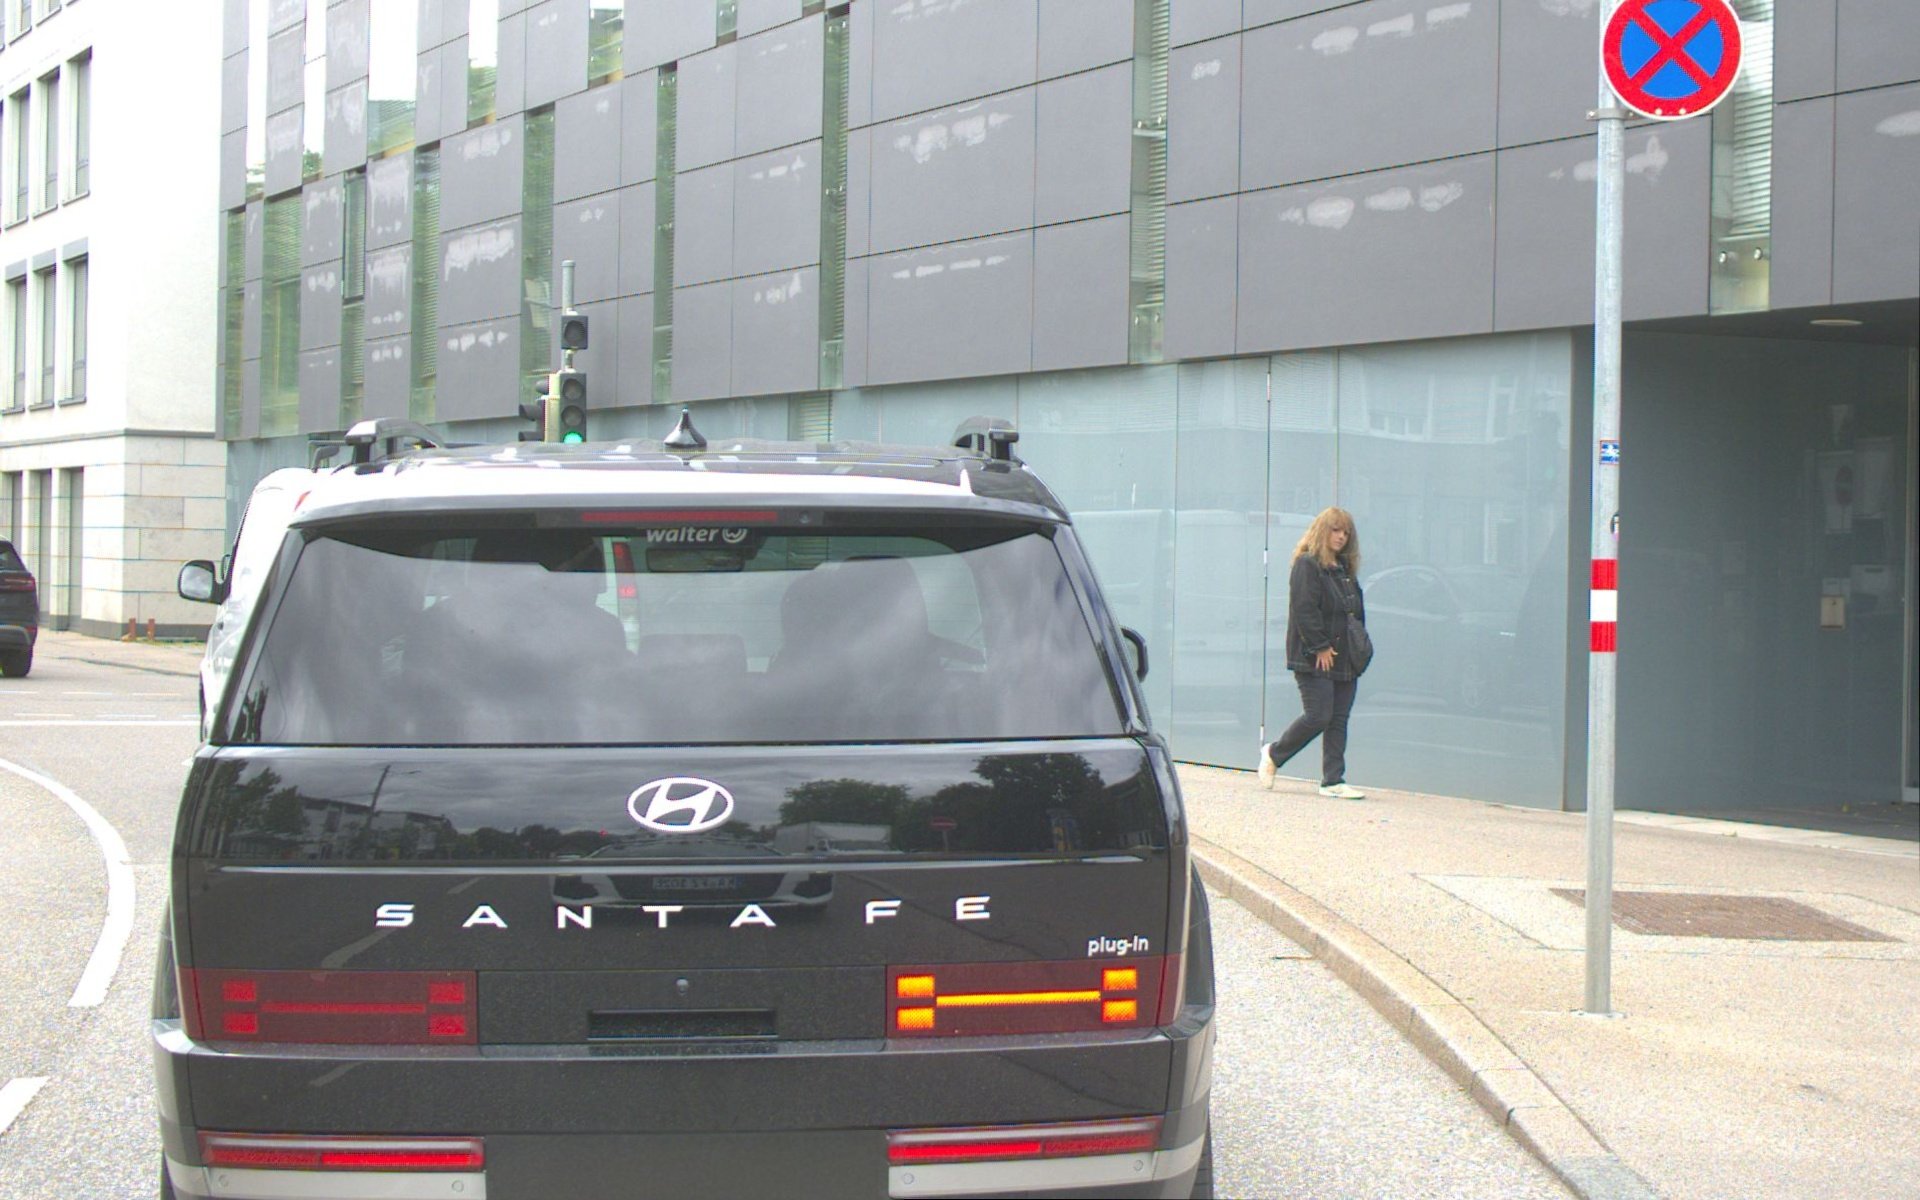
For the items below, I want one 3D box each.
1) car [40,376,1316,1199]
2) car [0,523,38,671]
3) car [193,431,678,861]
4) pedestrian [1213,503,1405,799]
[{"bbox_3d":[-0.652,0.506,7.353,1.908,1.743,4.398,0,1,-6],"label":"car"},{"bbox_3d":[-11.753,-0.078,38.950,1.759,1.603,4.189,1,1,-26],"label":"car"},{"bbox_3d":[-2.934,0.181,18.355,1.931,1.987,4.536,1,1,-16],"label":"car"},{"bbox_3d":[2.068,0.292,20.341,0.864,1.688,0.712,2,0,30],"label":"pedestrian"}]
